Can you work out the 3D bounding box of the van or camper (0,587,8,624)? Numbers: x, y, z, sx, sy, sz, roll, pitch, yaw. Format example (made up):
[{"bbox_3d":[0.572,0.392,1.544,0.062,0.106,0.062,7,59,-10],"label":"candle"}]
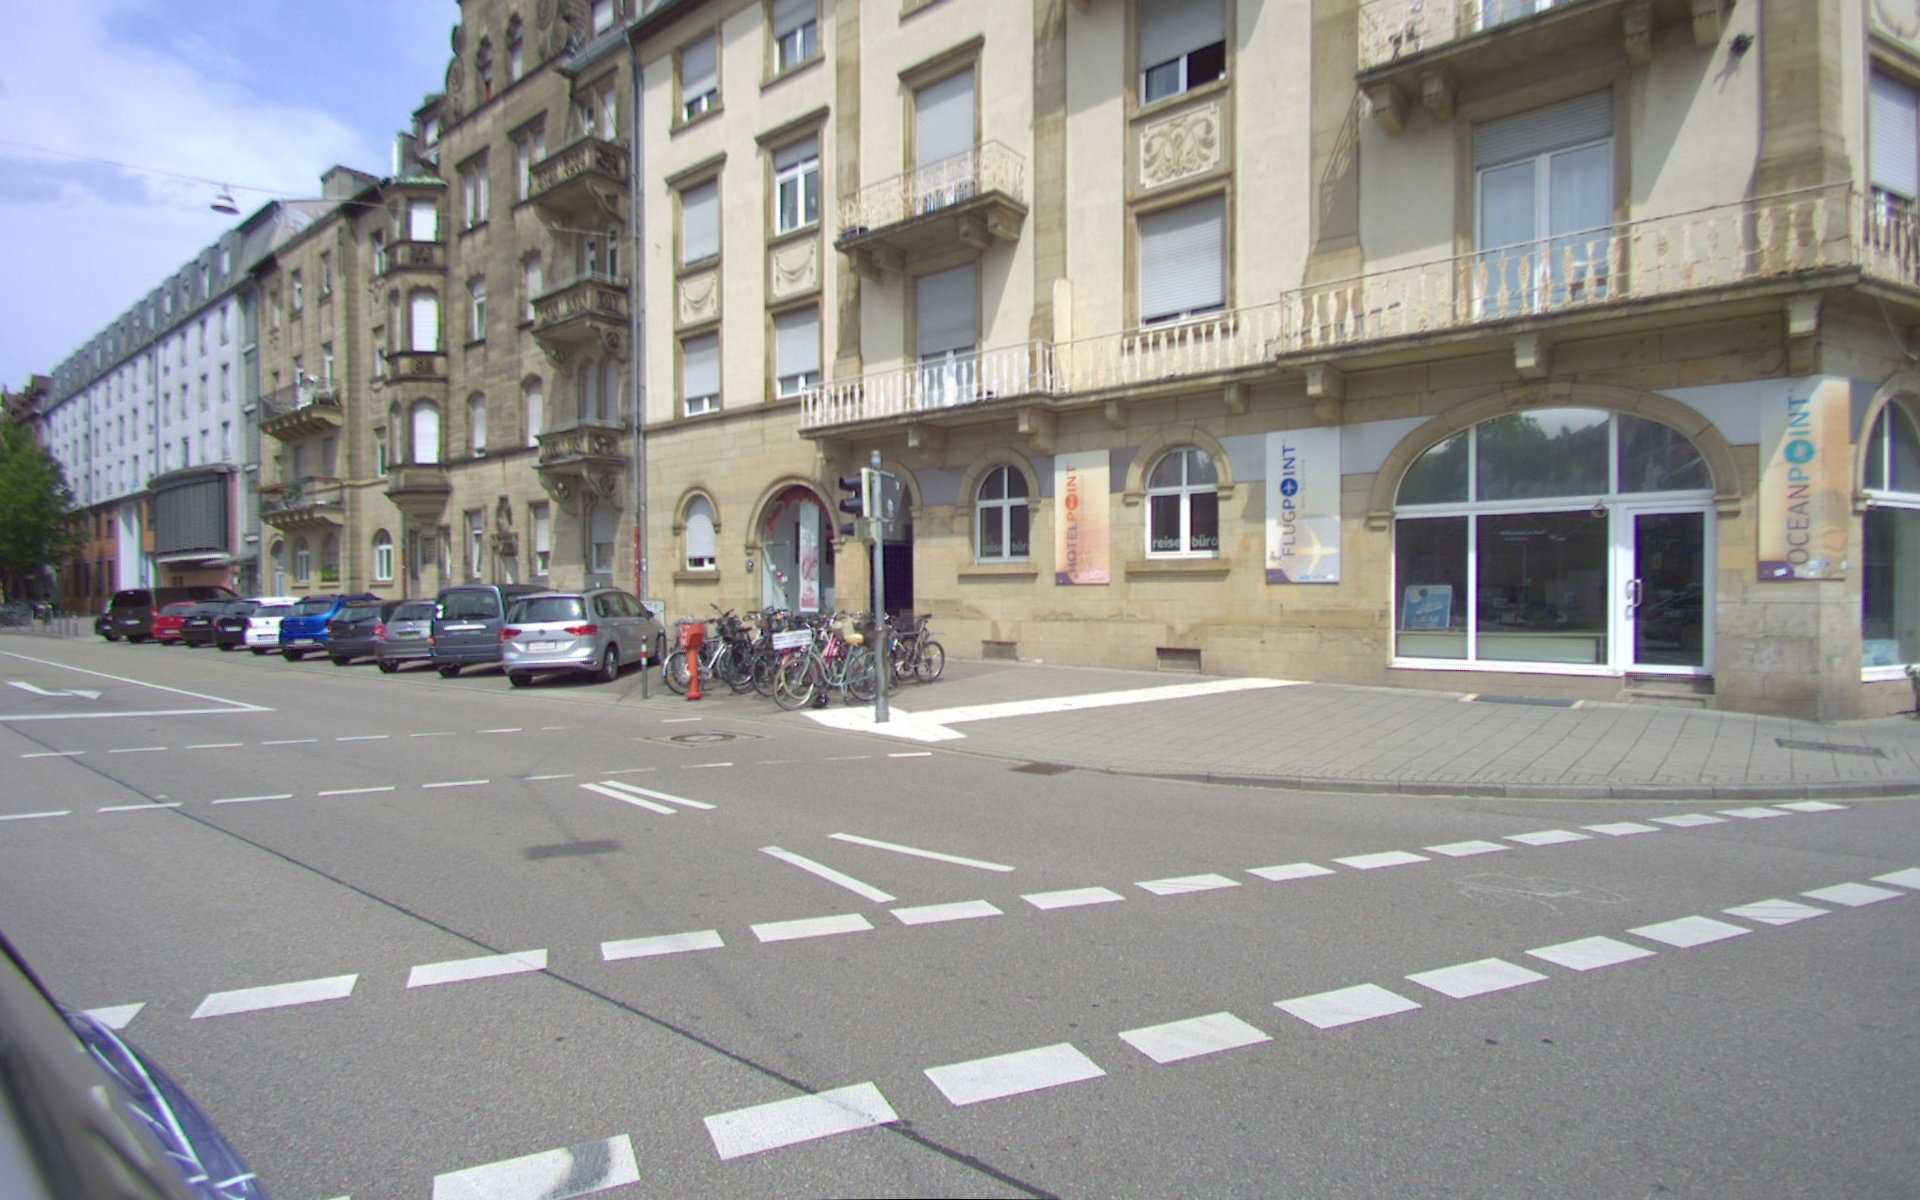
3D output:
[{"bbox_3d":[-54.223,0.299,54.546,1.997,2.029,3.950,0,0,37],"label":"van or camper"}]

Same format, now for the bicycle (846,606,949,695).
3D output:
[{"bbox_3d":[-0.922,0.739,15.411,0.397,1.201,1.808,-2,1,39],"label":"bicycle"}]

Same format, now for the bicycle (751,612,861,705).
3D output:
[{"bbox_3d":[-2.204,0.809,14.672,0.397,1.201,1.800,-1,2,36],"label":"bicycle"}]

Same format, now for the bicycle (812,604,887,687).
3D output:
[{"bbox_3d":[-1.763,0.713,16.308,0.396,1.201,1.331,-1,3,34],"label":"bicycle"}]

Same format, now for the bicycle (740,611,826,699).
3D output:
[{"bbox_3d":[-2.632,0.800,15.168,0.397,1.201,1.329,-1,2,36],"label":"bicycle"}]

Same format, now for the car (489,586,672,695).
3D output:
[{"bbox_3d":[-6.849,0.637,18.747,1.735,1.601,4.036,-4,2,1],"label":"car"}]

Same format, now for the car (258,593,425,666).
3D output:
[{"bbox_3d":[-16.119,0.715,26.623,1.737,1.546,3.823,-3,2,5],"label":"car"}]

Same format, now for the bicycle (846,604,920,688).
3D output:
[{"bbox_3d":[-1.208,0.704,16.069,0.396,1.201,1.331,-1,3,34],"label":"bicycle"}]

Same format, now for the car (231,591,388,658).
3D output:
[{"bbox_3d":[-18.488,0.645,28.976,1.737,1.546,3.823,-3,2,5],"label":"car"}]

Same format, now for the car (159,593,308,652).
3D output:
[{"bbox_3d":[-23.228,0.682,32.534,1.737,1.546,3.823,-3,2,5],"label":"car"}]

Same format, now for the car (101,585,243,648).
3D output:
[{"bbox_3d":[-27.744,0.534,35.813,1.737,1.907,3.823,-3,2,5],"label":"car"}]

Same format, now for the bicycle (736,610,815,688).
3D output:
[{"bbox_3d":[-2.982,0.773,16.408,0.397,1.201,1.329,-1,0,38],"label":"bicycle"}]

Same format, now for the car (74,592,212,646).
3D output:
[{"bbox_3d":[-30.293,0.653,37.668,1.737,1.698,3.823,-3,2,5],"label":"car"}]

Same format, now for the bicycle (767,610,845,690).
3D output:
[{"bbox_3d":[-2.451,0.774,16.211,0.397,1.201,1.328,-1,0,38],"label":"bicycle"}]

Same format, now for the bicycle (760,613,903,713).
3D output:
[{"bbox_3d":[-1.706,0.817,13.582,1.845,1.201,0.457,-2,1,-31],"label":"bicycle"}]

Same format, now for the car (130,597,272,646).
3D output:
[{"bbox_3d":[-25.553,0.686,34.234,1.737,1.547,3.822,-1,0,5],"label":"car"}]

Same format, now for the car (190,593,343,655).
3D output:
[{"bbox_3d":[-21.003,0.679,30.861,1.737,1.546,3.823,-3,2,5],"label":"car"}]

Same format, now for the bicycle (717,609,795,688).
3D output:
[{"bbox_3d":[-3.355,0.776,16.749,0.396,1.201,1.330,-1,2,35],"label":"bicycle"}]

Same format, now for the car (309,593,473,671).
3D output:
[{"bbox_3d":[-13.772,0.713,24.779,1.735,1.546,3.828,-4,2,1],"label":"car"}]

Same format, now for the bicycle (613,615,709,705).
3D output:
[{"bbox_3d":[-4.444,0.873,15.112,0.397,1.201,1.329,-1,3,38],"label":"bicycle"}]

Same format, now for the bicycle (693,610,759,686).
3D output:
[{"bbox_3d":[-3.937,0.784,17.102,0.395,1.201,1.336,0,0,22],"label":"bicycle"}]

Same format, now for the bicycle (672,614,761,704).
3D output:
[{"bbox_3d":[-3.596,0.848,15.024,0.396,1.201,1.331,-1,3,33],"label":"bicycle"}]

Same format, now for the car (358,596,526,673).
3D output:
[{"bbox_3d":[-11.402,0.709,22.579,1.735,1.547,3.827,-1,0,1],"label":"car"}]

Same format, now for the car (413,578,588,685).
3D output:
[{"bbox_3d":[-9.318,0.549,20.885,1.735,1.832,3.828,-4,2,1],"label":"car"}]
